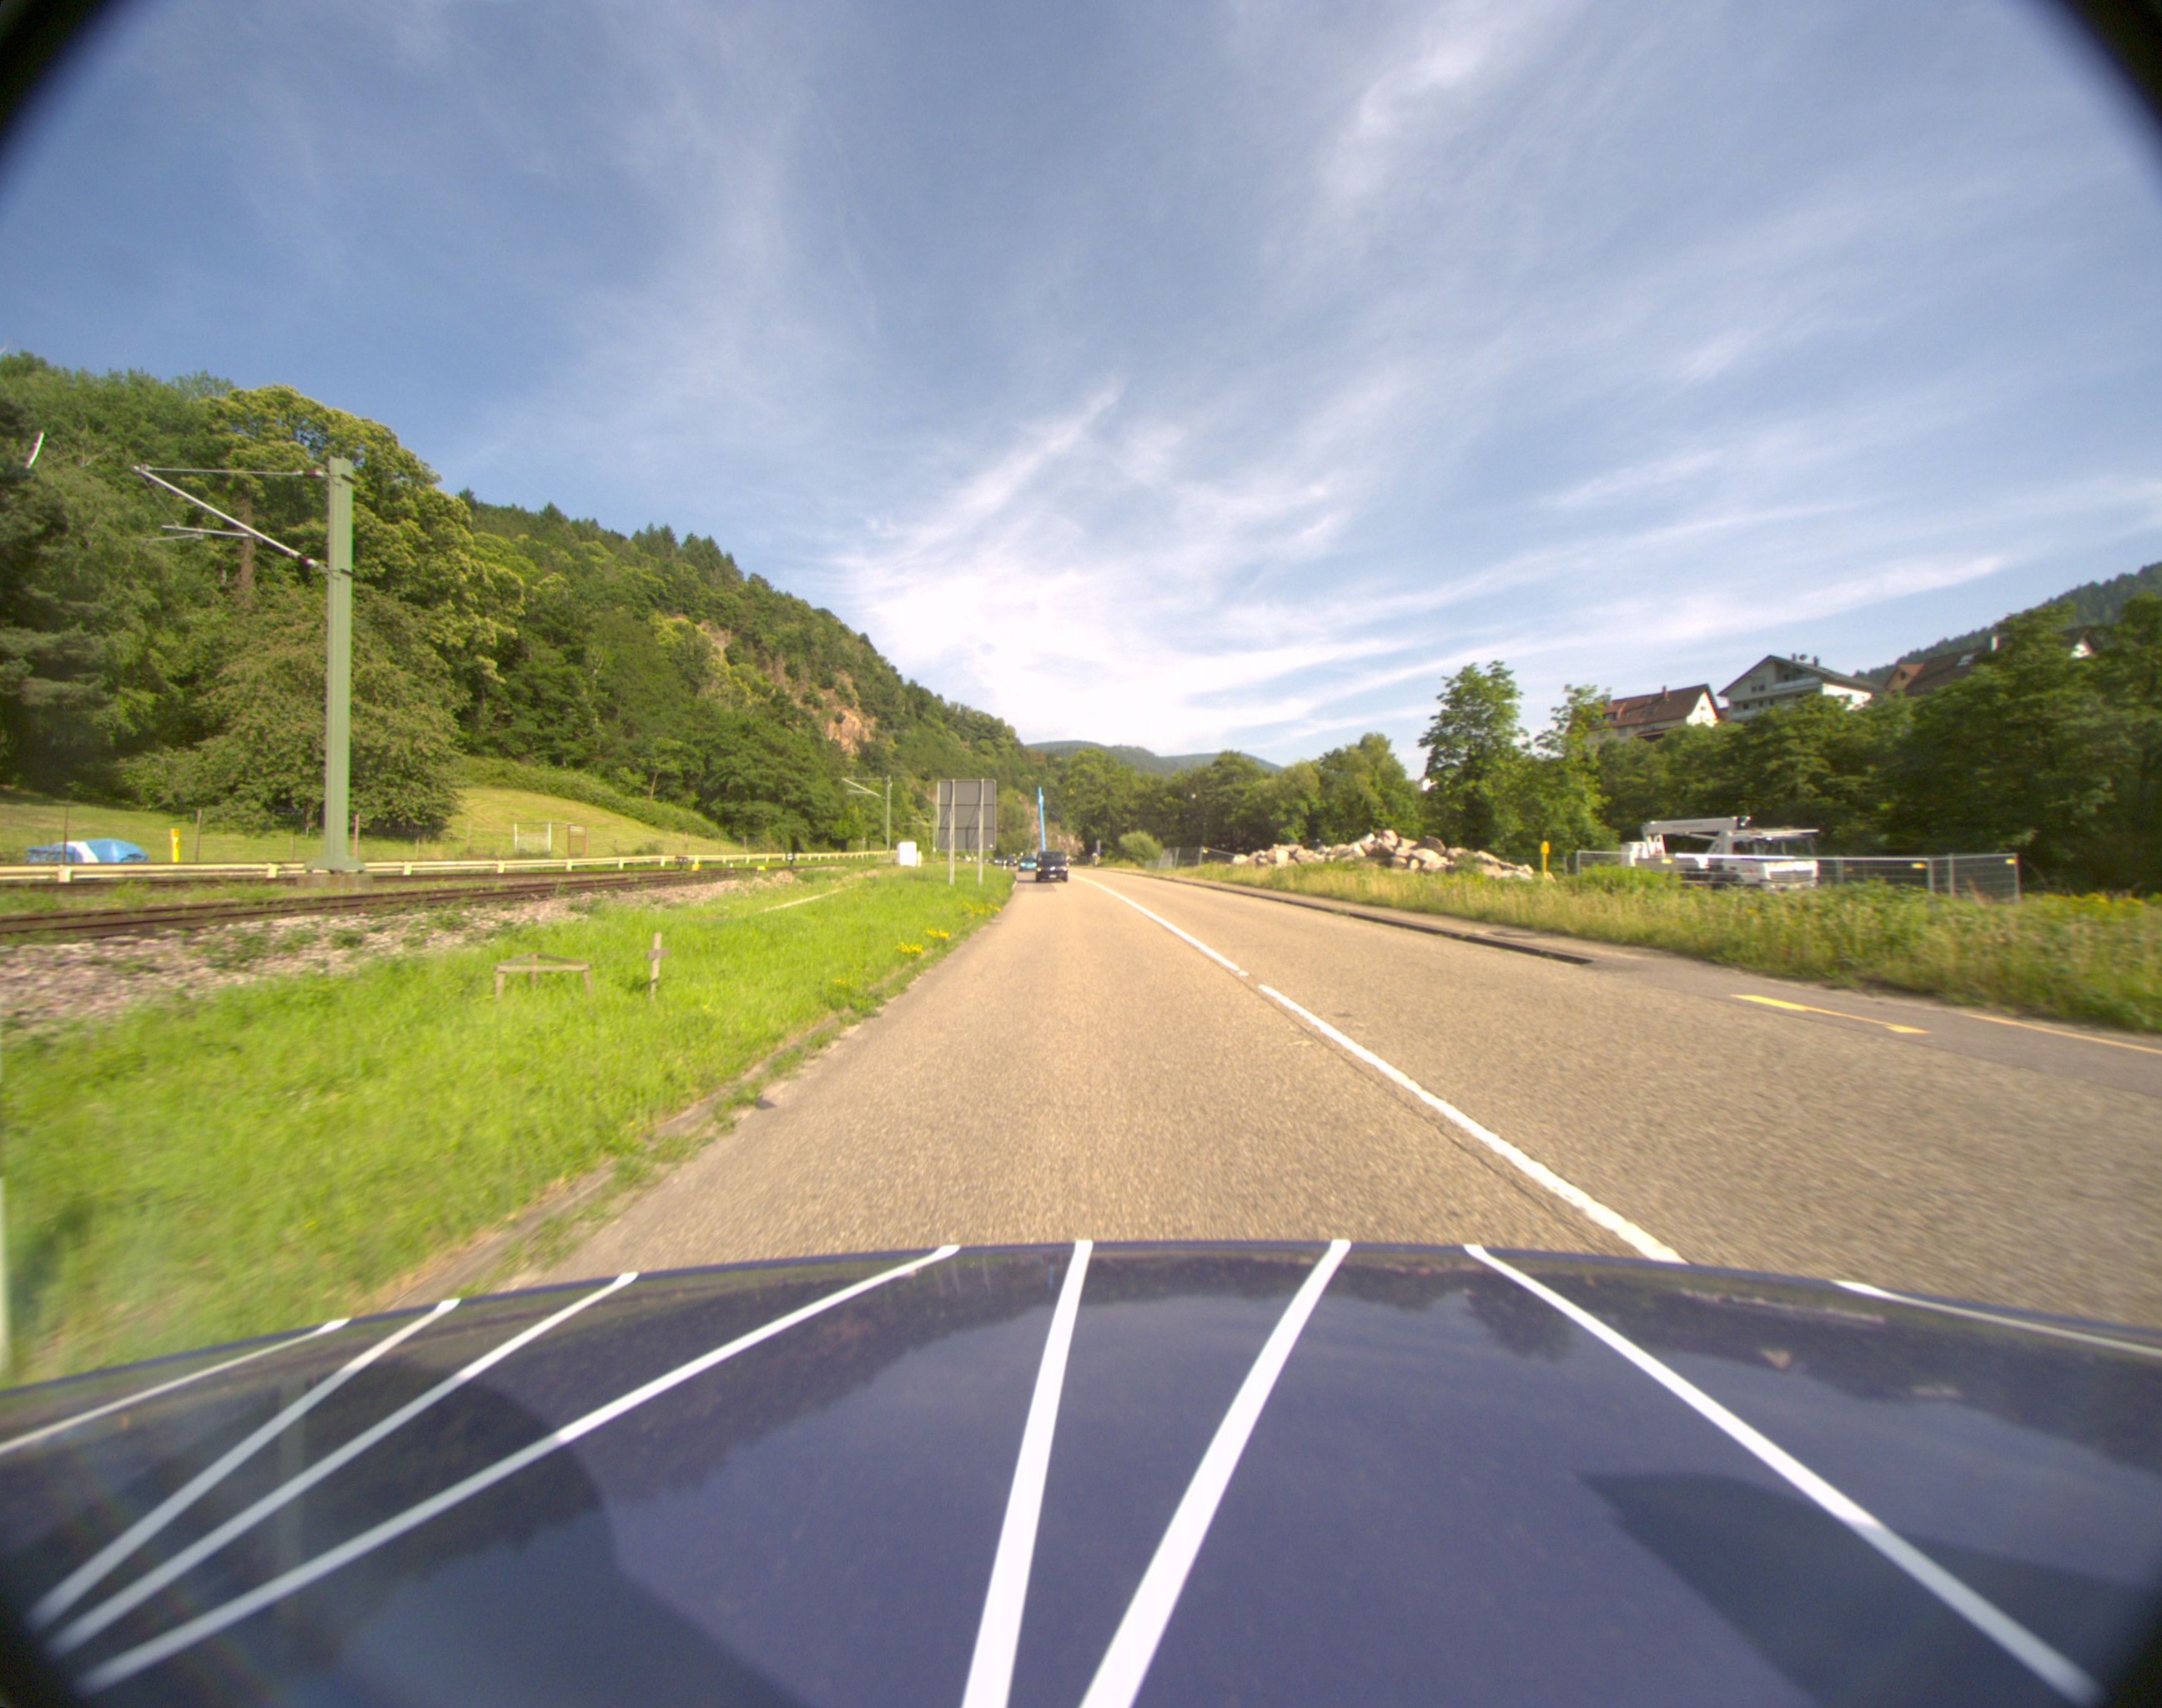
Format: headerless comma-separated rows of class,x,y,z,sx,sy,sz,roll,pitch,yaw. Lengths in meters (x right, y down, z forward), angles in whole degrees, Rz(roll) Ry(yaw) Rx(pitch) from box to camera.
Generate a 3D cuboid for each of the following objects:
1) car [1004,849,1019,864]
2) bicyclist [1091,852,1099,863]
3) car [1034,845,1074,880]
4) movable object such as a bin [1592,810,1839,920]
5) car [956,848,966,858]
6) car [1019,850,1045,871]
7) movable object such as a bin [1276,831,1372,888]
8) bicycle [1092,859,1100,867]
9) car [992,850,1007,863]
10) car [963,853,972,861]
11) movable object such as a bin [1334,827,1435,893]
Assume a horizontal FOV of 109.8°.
car,-9.846,0.401,108.463,1.999,2.002,3.999,2,0,-4
bicyclist,1.567,0.343,83.642,0.686,1.218,0.857,-1,1,-8
car,-1.707,0.587,46.565,2.000,2.001,3.998,1,-2,-8
movable object such as a bin,25.749,0.413,31.538,2.907,3.924,7.802,2,0,-9
car,-26.190,-0.149,165.864,2.000,2.002,3.997,2,0,-8
car,-5.058,0.635,77.725,2.001,2.002,3.996,2,0,-12
movable object such as a bin,18.331,0.393,58.336,2.708,3.924,9.981,2,0,-9
bicycle,1.617,0.999,83.544,0.541,0.876,2.251,-2,0,-8
car,-13.520,0.467,125.362,2.001,2.002,3.996,2,0,-11
car,-29.230,0.684,196.084,1.999,2.002,3.998,2,0,-4
movable object such as a bin,19.677,0.372,49.831,2.730,3.924,7.223,2,0,-9
